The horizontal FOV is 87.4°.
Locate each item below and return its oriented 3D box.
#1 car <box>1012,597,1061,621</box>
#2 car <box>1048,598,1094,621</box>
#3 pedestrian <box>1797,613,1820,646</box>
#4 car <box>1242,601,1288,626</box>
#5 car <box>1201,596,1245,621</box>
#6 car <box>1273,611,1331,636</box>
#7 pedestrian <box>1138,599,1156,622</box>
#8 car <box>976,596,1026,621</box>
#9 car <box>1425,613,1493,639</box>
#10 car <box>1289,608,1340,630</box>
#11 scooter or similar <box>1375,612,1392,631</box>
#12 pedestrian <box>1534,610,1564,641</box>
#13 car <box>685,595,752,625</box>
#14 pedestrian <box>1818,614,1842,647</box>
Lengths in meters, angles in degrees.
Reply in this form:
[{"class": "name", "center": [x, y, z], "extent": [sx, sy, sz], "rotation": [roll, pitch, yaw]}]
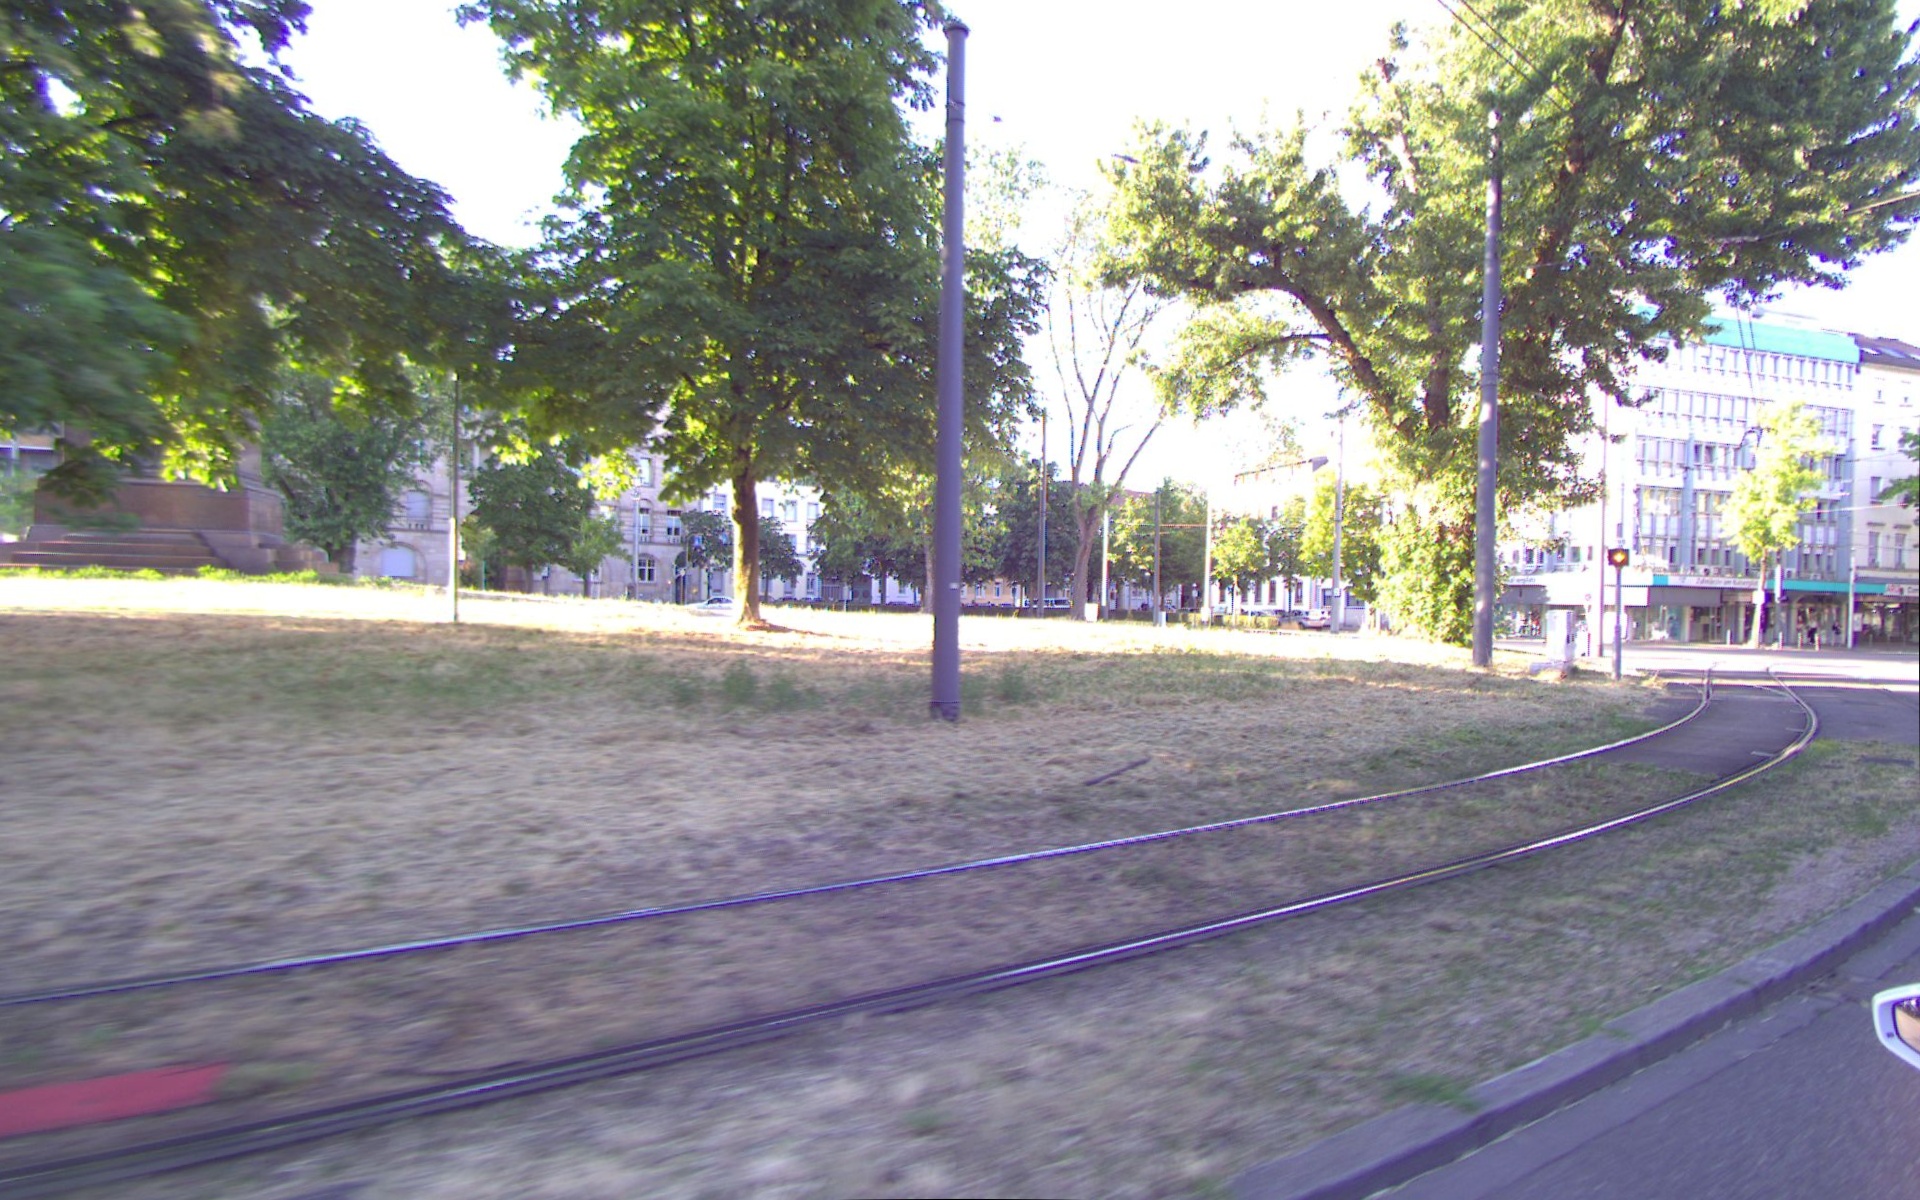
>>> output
[{"class": "car", "center": [6.891, 0.851, 90.285], "extent": [3.962, 2.040, 1.979], "rotation": [2, 0, -37]}, {"class": "car", "center": [10.252, 0.872, 92.860], "extent": [3.962, 2.040, 1.979], "rotation": [2, 0, -37]}, {"class": "pedestrian", "center": [53.600, 1.863, 63.440], "extent": [0.722, 2.040, 0.796], "rotation": [2, 1, -16]}, {"class": "car", "center": [26.624, 1.151, 87.702], "extent": [1.967, 2.040, 3.986], "rotation": [2, 0, -16]}, {"class": "car", "center": [22.430, 0.701, 85.824], "extent": [1.965, 2.040, 3.991], "rotation": [2, 0, -12]}, {"class": "car", "center": [25.701, 1.740, 75.614], "extent": [1.971, 1.706, 3.979], "rotation": [2, 0, -22]}, {"class": "pedestrian", "center": [17.174, 0.918, 92.299], "extent": [1.101, 2.040, 1.460], "rotation": [2, 0, -16]}, {"class": "car", "center": [3.599, 0.733, 87.725], "extent": [3.962, 2.040, 1.979], "rotation": [2, 0, -37]}, {"class": "car", "center": [33.053, 1.686, 66.672], "extent": [1.991, 1.504, 3.992], "rotation": [2, 0, -10]}, {"class": "car", "center": [28.608, 1.522, 81.134], "extent": [1.966, 1.550, 3.989], "rotation": [2, 0, -14]}, {"class": "scooter or similar", "center": [33.428, 1.656, 79.295], "extent": [0.740, 1.417, 1.929], "rotation": [2, 1, 8]}, {"class": "pedestrian", "center": [33.928, 1.455, 57.890], "extent": [1.140, 1.725, 0.907], "rotation": [2, 0, 0]}, {"class": "car", "center": [-15.686, 0.642, 65.374], "extent": [3.922, 1.818, 1.999], "rotation": [2, 1, -3]}, {"class": "pedestrian", "center": [53.971, 1.880, 62.319], "extent": [0.722, 2.040, 0.796], "rotation": [2, 1, -16]}]
